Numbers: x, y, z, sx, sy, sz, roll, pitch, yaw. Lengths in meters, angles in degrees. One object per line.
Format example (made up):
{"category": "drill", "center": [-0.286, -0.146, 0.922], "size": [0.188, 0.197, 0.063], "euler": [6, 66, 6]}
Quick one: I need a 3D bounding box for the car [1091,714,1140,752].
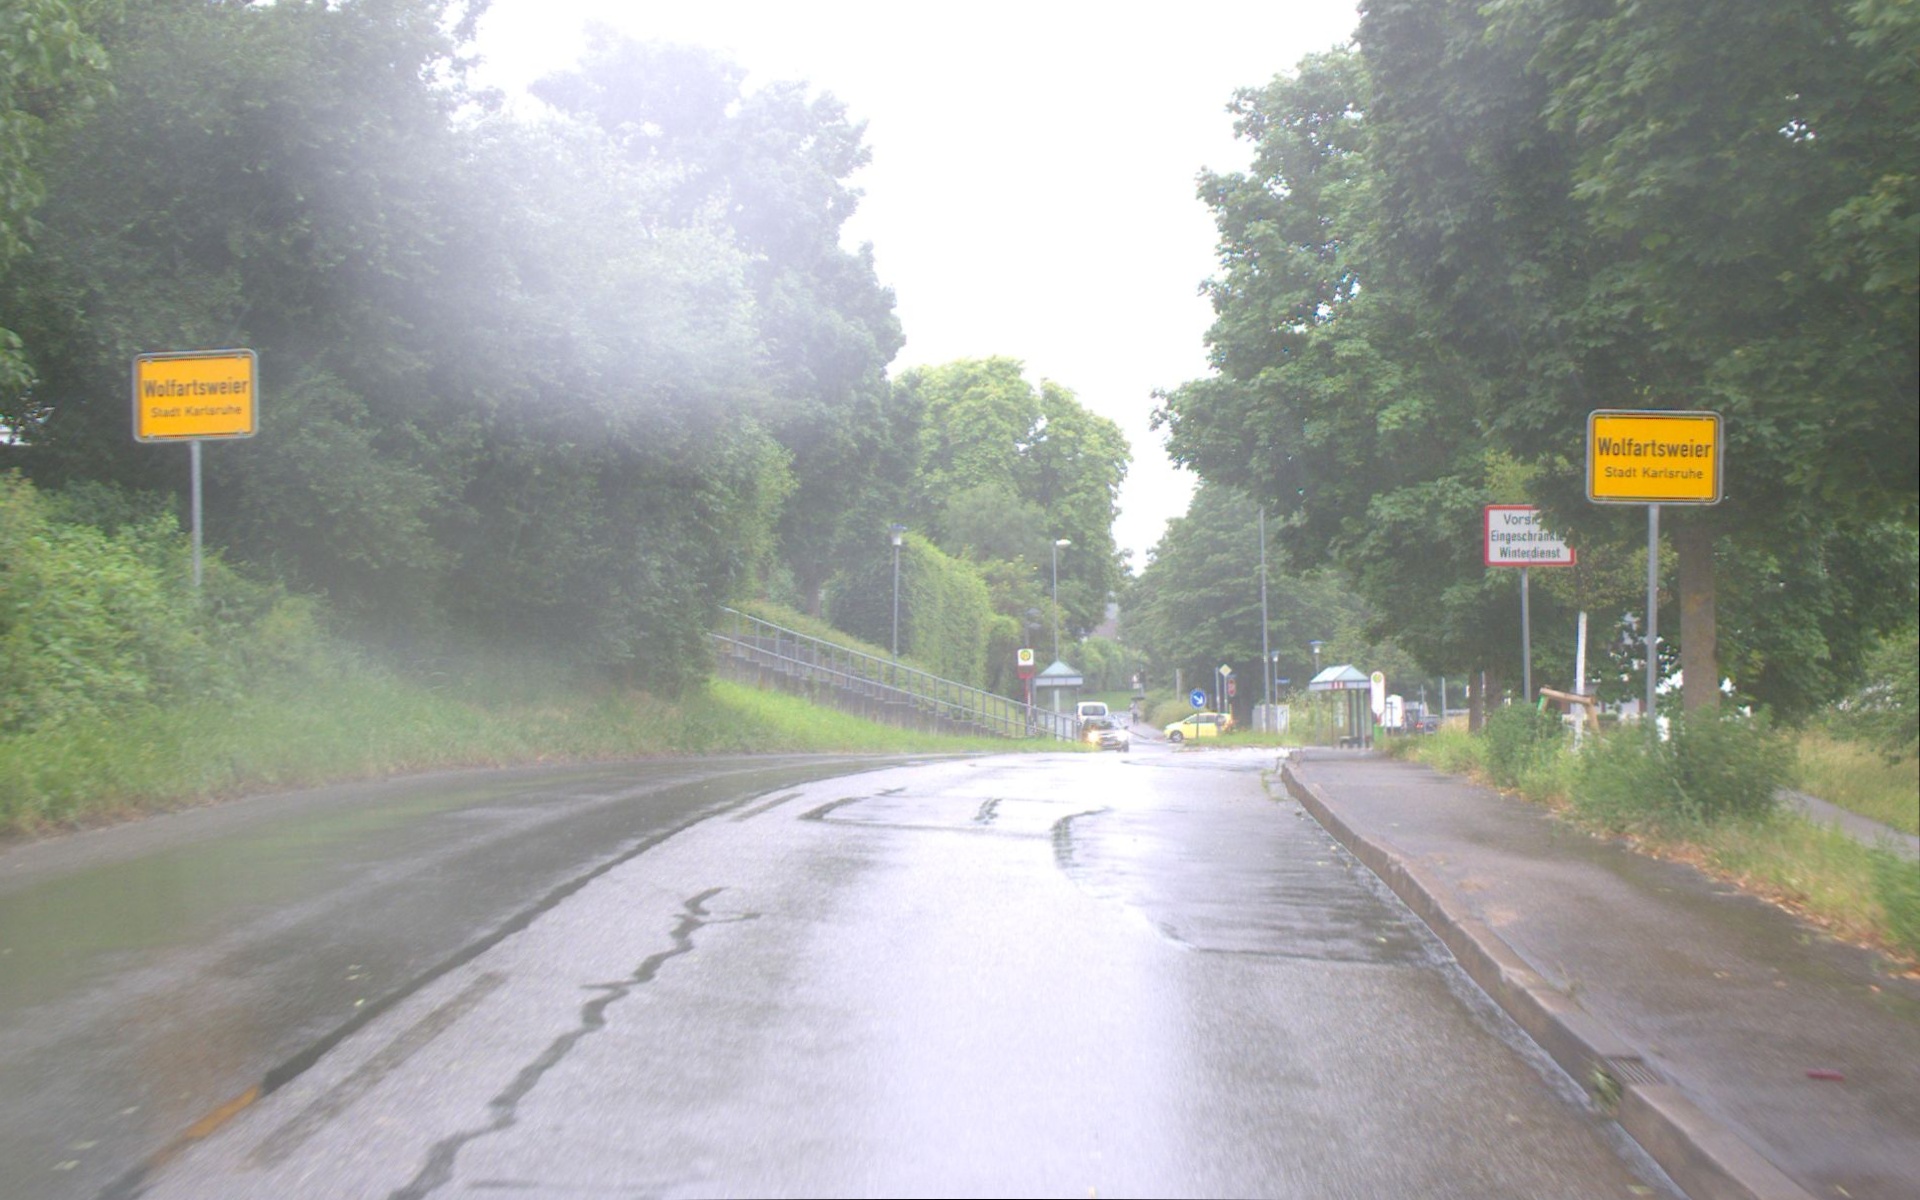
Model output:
{"category": "car", "center": [6.489, 5.590, 144.098], "size": [1.760, 1.498, 4.141], "euler": [-2, -3, -1]}

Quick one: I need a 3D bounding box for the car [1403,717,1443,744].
{"category": "car", "center": [25.879, 7.285, 192.173], "size": [1.688, 1.433, 3.612], "euler": [-1, -1, -1]}
